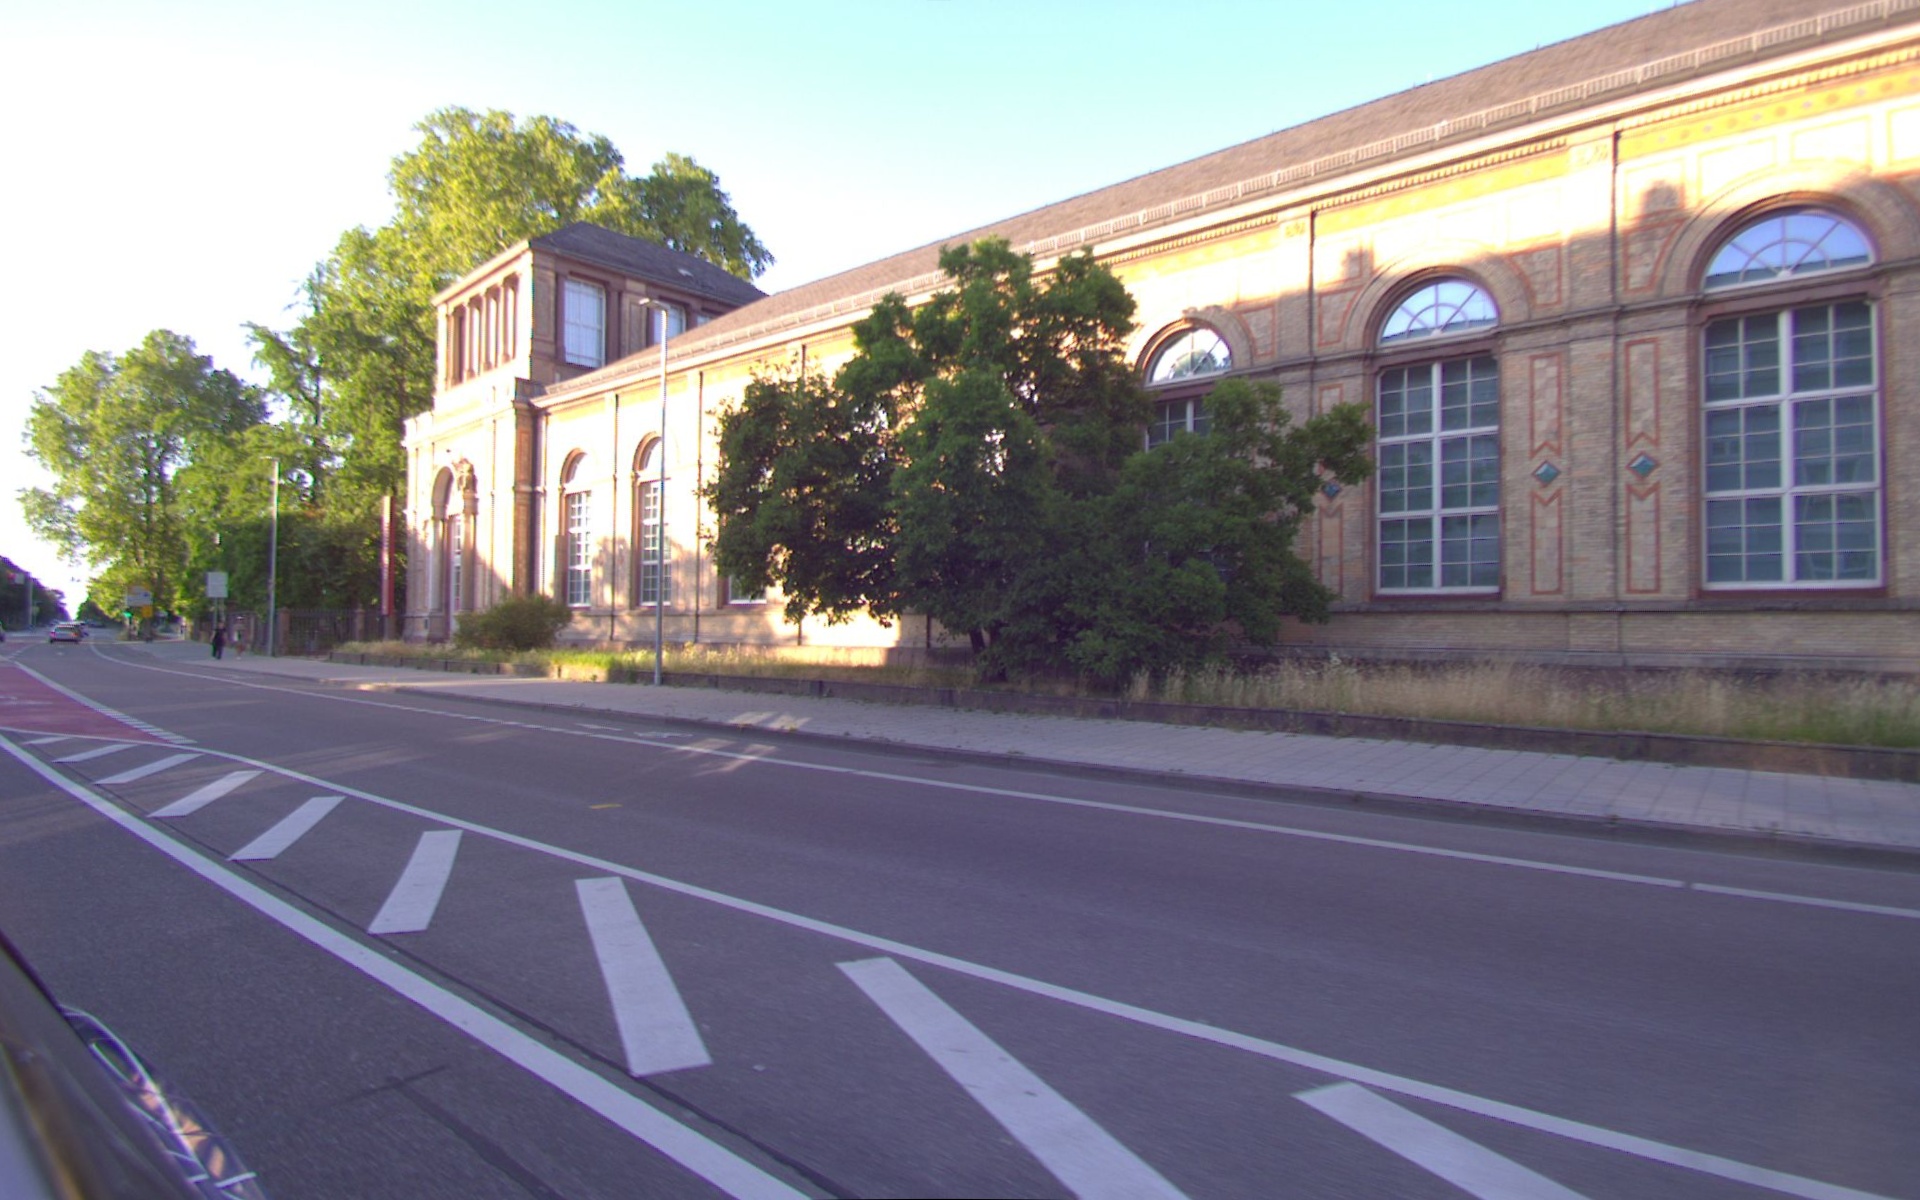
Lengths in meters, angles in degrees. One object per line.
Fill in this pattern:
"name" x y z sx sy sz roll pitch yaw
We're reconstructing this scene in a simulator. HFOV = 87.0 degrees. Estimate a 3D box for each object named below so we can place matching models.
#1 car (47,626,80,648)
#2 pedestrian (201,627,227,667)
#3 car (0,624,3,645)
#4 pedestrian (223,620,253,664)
"car" -70.931 2.906 80.061 1.893 1.697 4.005 2 -2 -42
"pedestrian" -30.118 1.896 40.867 0.836 1.524 0.666 -4 0 45
"car" -69.756 2.446 72.411 1.751 1.475 4.003 4 -4 -44
"pedestrian" -29.440 1.711 41.272 0.795 1.751 0.852 1 -2 -25
